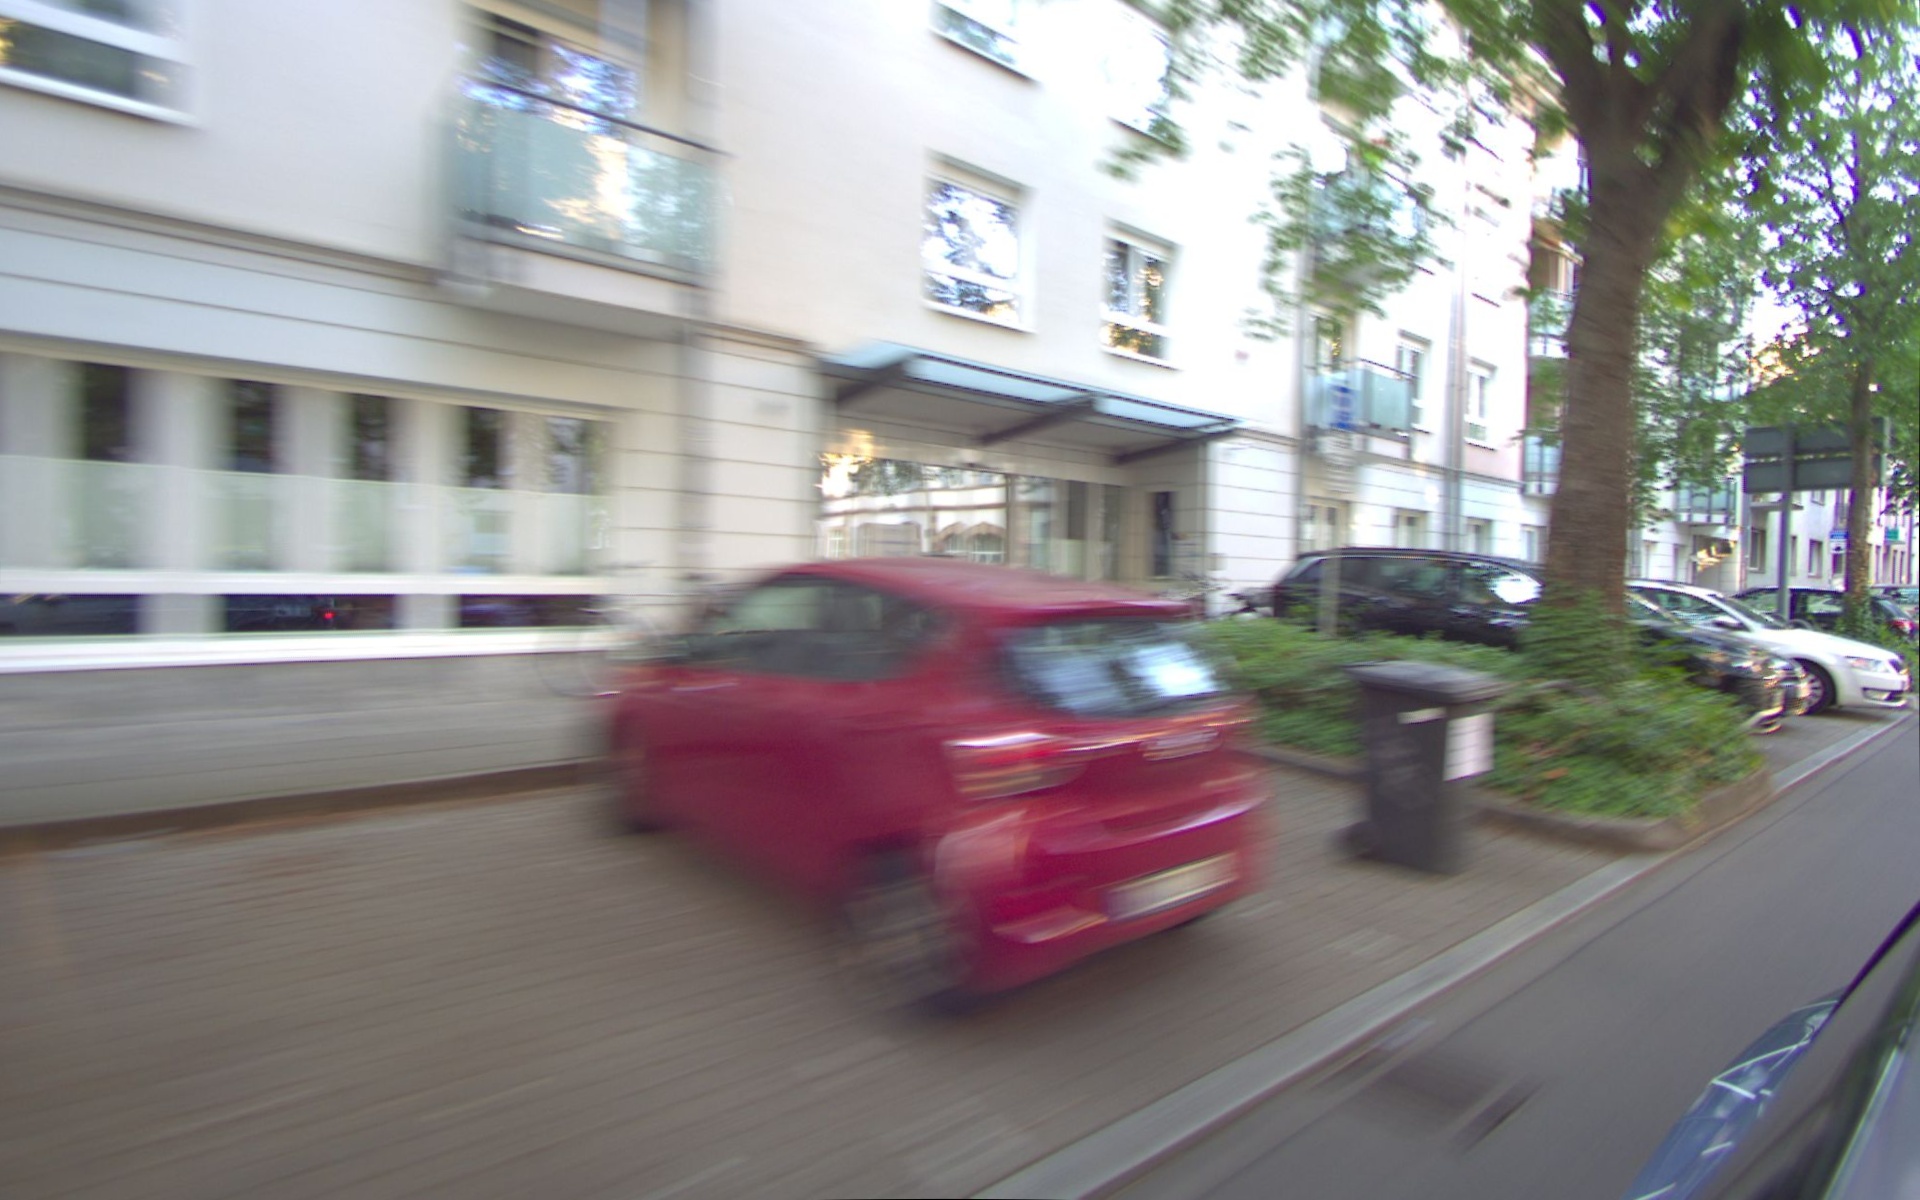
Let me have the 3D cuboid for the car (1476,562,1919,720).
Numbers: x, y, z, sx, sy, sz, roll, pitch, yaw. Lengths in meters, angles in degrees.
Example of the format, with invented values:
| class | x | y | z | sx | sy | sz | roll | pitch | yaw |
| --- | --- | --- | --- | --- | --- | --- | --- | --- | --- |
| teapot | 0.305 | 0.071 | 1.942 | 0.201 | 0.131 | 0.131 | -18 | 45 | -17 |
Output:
| class | x | y | z | sx | sy | sz | roll | pitch | yaw |
| --- | --- | --- | --- | --- | --- | --- | --- | --- | --- |
| car | 9.661 | 0.382 | 13.447 | 1.765 | 1.485 | 4.611 | 0 | 5 | -41 |

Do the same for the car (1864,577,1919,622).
| class | x | y | z | sx | sy | sz | roll | pitch | yaw |
| --- | --- | --- | --- | --- | --- | --- | --- | --- | --- |
| car | 34.430 | 0.085 | 34.877 | 1.973 | 1.444 | 4.476 | 0 | 5 | -36 |

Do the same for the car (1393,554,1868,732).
| class | x | y | z | sx | sy | sz | roll | pitch | yaw |
| --- | --- | --- | --- | --- | --- | --- | --- | --- | --- |
| car | 7.668 | 0.338 | 11.976 | 1.894 | 1.455 | 4.238 | 0 | 6 | -38 |

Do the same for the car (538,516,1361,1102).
| class | x | y | z | sx | sy | sz | roll | pitch | yaw |
| --- | --- | --- | --- | --- | --- | --- | --- | --- | --- |
| car | -0.381 | 0.502 | 4.735 | 1.845 | 1.563 | 3.783 | 0 | 2 | -41 |

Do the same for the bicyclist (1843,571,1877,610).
| class | x | y | z | sx | sy | sz | roll | pitch | yaw |
| --- | --- | --- | --- | --- | --- | --- | --- | --- | --- |
| bicyclist | 39.102 | -0.426 | 43.964 | 1.117 | 1.624 | 0.971 | 0 | 2 | -43 |

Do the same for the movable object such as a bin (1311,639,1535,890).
| class | x | y | z | sx | sy | sz | roll | pitch | yaw |
| --- | --- | --- | --- | --- | --- | --- | --- | --- | --- |
| movable object such as a bin | 2.413 | 0.796 | 5.294 | 0.771 | 1.097 | 0.762 | 0 | 3 | -39 |

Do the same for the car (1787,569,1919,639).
| class | x | y | z | sx | sy | sz | roll | pitch | yaw |
| --- | --- | --- | --- | --- | --- | --- | --- | --- | --- |
| car | 24.489 | 0.122 | 26.554 | 1.883 | 1.604 | 3.979 | 0 | 5 | -40 |

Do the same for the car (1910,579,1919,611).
| class | x | y | z | sx | sy | sz | roll | pitch | yaw |
| --- | --- | --- | --- | --- | --- | --- | --- | --- | --- |
| car | 45.673 | -0.075 | 44.886 | 2.004 | 1.465 | 4.855 | 0 | 4 | -38 |

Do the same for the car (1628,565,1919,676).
| class | x | y | z | sx | sy | sz | roll | pitch | yaw |
| --- | --- | --- | --- | --- | --- | --- | --- | --- | --- |
| car | 14.149 | 0.268 | 17.402 | 4.088 | 1.468 | 1.904 | 7 | 5 | 45 |

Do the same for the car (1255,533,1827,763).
| class | x | y | z | sx | sy | sz | roll | pitch | yaw |
| --- | --- | --- | --- | --- | --- | --- | --- | --- | --- |
| car | 5.674 | 0.263 | 10.393 | 1.977 | 1.636 | 4.650 | -1 | 6 | -44 |

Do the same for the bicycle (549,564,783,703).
| class | x | y | z | sx | sy | sz | roll | pitch | yaw |
| --- | --- | --- | --- | --- | --- | --- | --- | --- | --- |
| bicycle | -2.408 | 0.244 | 8.448 | 1.849 | 1.049 | 0.425 | 0 | 3 | -40 |
